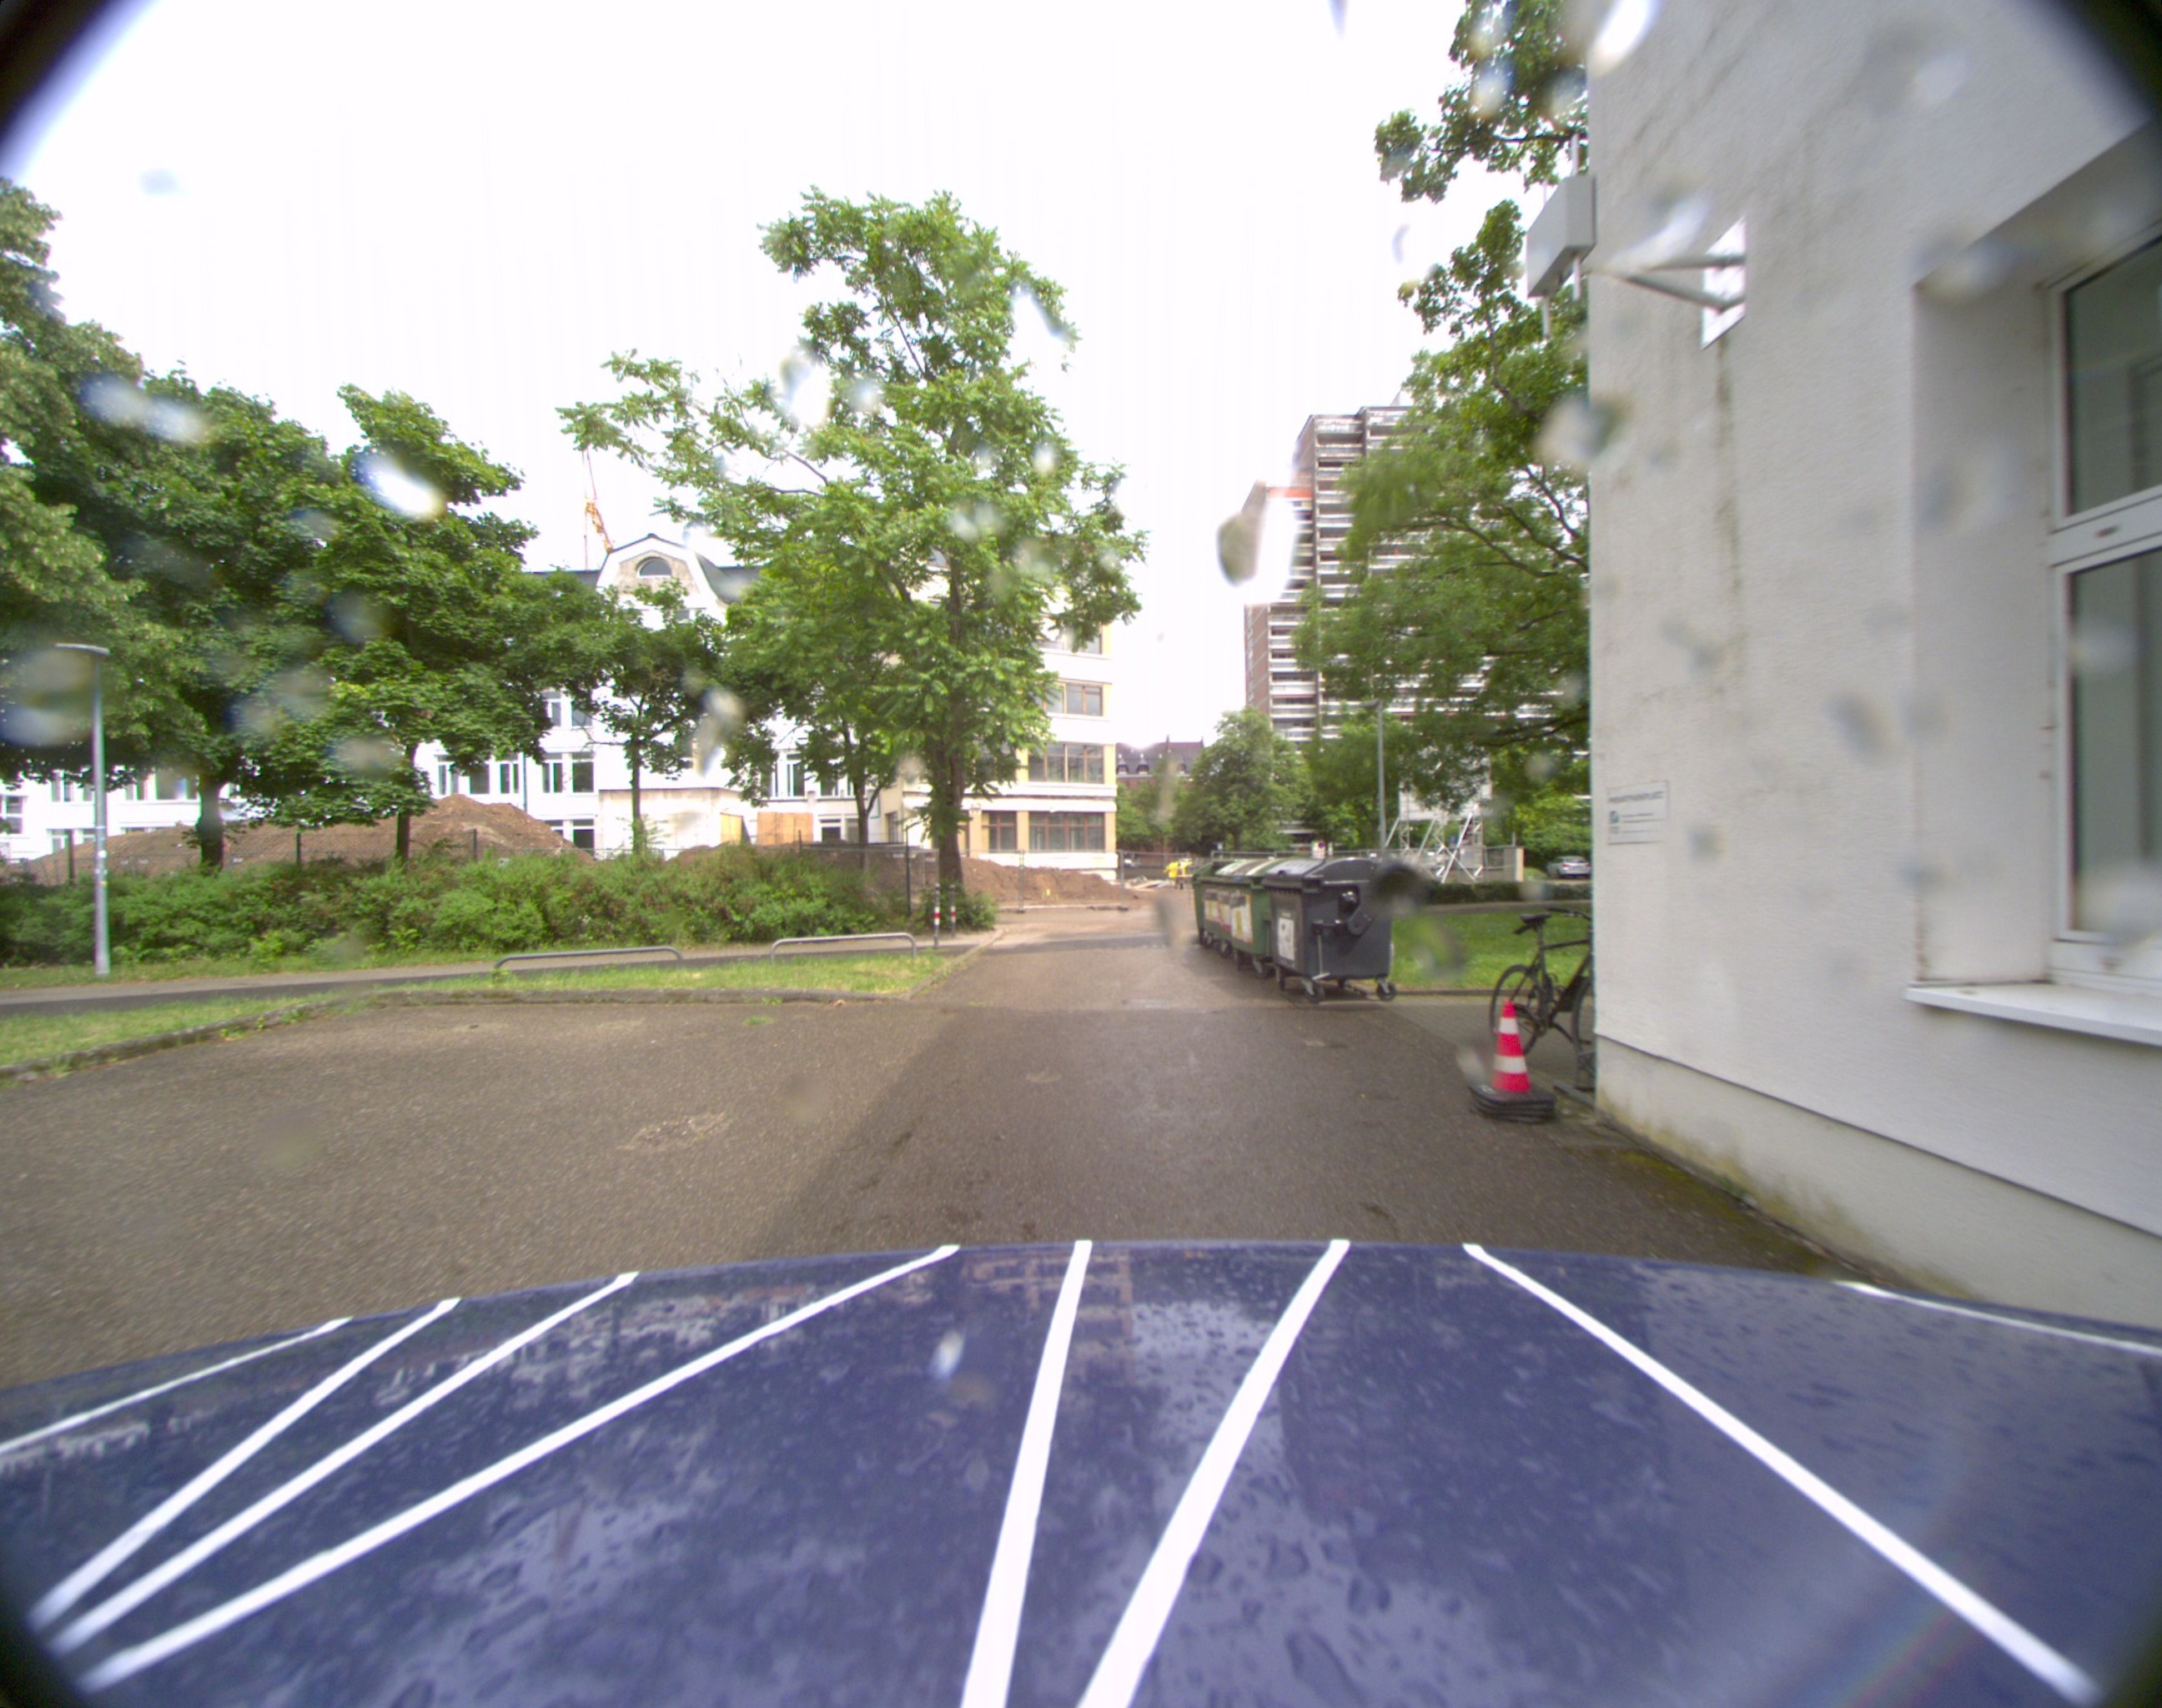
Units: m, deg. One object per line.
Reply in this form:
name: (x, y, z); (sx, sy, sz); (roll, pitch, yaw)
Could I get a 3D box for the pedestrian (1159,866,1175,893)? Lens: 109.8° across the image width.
pedestrian: (4.900, 1.454, 43.173); (0.650, 1.499, 0.623); (0, -1, -39)

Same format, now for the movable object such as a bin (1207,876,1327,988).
movable object such as a bin: (2.618, 1.069, 10.923); (1.363, 1.462, 1.352); (-2, -1, 1)

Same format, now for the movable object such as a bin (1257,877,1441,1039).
movable object such as a bin: (2.667, 0.992, 7.797); (1.363, 1.462, 1.366); (-2, -1, 1)

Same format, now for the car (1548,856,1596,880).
car: (32.462, 0.946, 50.317); (1.855, 1.477, 4.007); (-2, -1, 22)

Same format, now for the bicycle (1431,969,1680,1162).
bicycle: (3.108, 1.331, 5.250); (0.453, 0.794, 2.057); (-2, -1, 2)

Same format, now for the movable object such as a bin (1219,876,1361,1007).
movable object such as a bin: (2.558, 1.037, 9.520); (1.363, 1.462, 1.366); (-2, -1, 1)

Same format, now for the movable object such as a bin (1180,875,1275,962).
movable object such as a bin: (2.634, 1.138, 13.925); (1.412, 1.462, 1.561); (-2, -1, 1)

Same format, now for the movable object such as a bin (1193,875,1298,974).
movable object such as a bin: (2.632, 1.103, 12.371); (1.363, 1.462, 1.465); (-2, -1, 1)

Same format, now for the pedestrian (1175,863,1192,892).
pedestrian: (5.960, 1.346, 44.245); (0.775, 1.663, 0.714); (-1, -1, 28)
